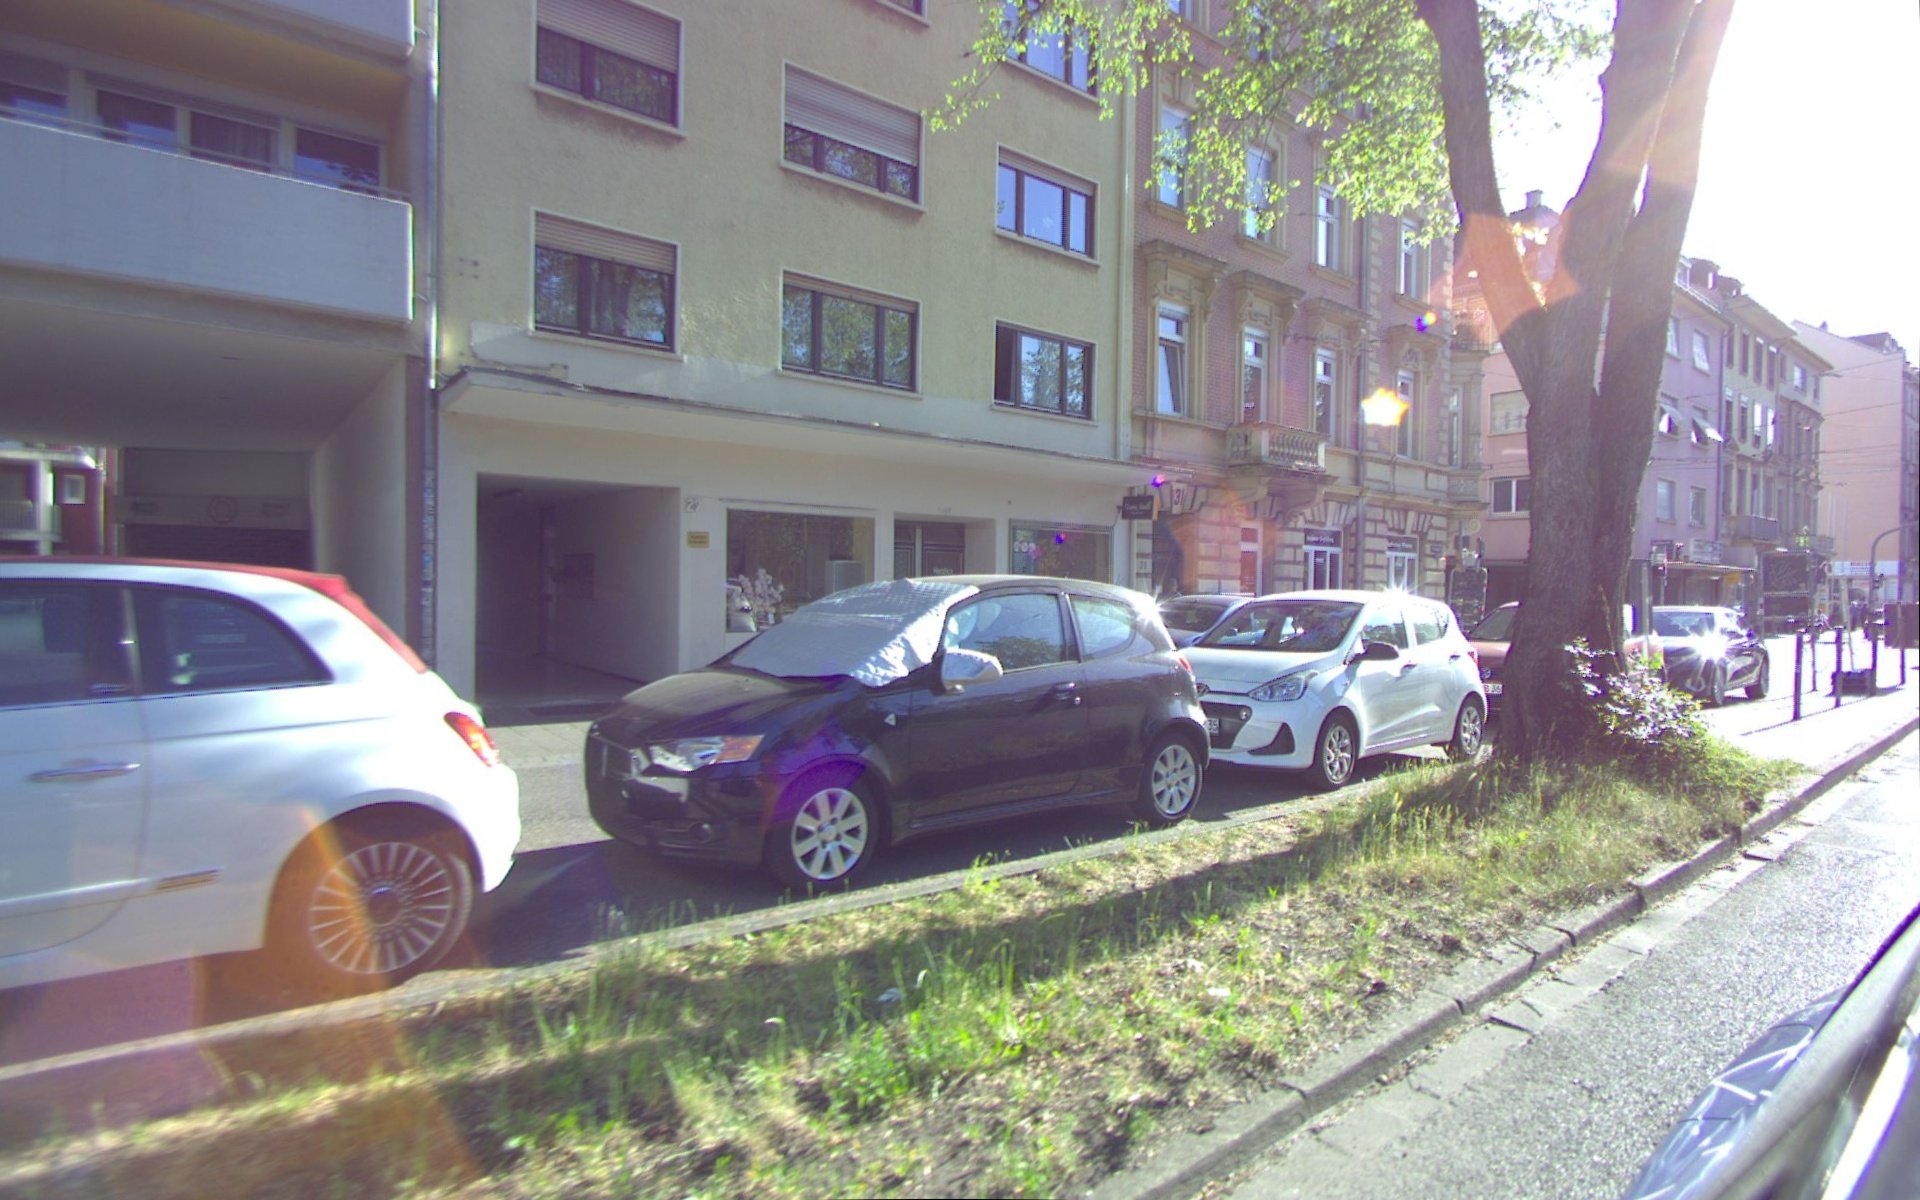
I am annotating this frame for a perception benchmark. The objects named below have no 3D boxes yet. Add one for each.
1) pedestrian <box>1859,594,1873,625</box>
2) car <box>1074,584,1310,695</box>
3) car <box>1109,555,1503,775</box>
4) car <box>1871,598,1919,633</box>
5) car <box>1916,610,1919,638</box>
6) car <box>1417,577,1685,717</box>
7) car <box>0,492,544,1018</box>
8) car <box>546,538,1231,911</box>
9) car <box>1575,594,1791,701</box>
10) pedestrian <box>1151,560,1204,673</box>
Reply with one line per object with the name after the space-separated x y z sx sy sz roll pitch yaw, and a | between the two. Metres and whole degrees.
51.721 0.529 57.790 0.648 1.784 0.495 0 0 -39 | pedestrian
3.776 0.550 16.142 3.931 1.498 1.696 0 2 -42 | car
3.094 0.462 8.726 3.633 1.496 1.628 0 -1 -42 | car
45.524 0.709 48.838 3.929 1.537 1.739 0 2 -40 | car
52.974 1.252 53.124 3.921 1.469 1.818 0 -1 -3 | car
7.301 0.510 12.370 3.835 1.453 1.592 0 -1 -40 | car
-3.371 0.450 3.363 3.426 1.499 1.516 0 -1 -36 | car
-0.244 0.519 5.857 3.717 1.504 1.565 0 -1 -38 | car
11.183 0.662 15.557 4.095 1.440 1.699 0 -1 -40 | car
4.051 0.302 18.850 0.836 2.039 0.513 1 -2 -36 | pedestrian
